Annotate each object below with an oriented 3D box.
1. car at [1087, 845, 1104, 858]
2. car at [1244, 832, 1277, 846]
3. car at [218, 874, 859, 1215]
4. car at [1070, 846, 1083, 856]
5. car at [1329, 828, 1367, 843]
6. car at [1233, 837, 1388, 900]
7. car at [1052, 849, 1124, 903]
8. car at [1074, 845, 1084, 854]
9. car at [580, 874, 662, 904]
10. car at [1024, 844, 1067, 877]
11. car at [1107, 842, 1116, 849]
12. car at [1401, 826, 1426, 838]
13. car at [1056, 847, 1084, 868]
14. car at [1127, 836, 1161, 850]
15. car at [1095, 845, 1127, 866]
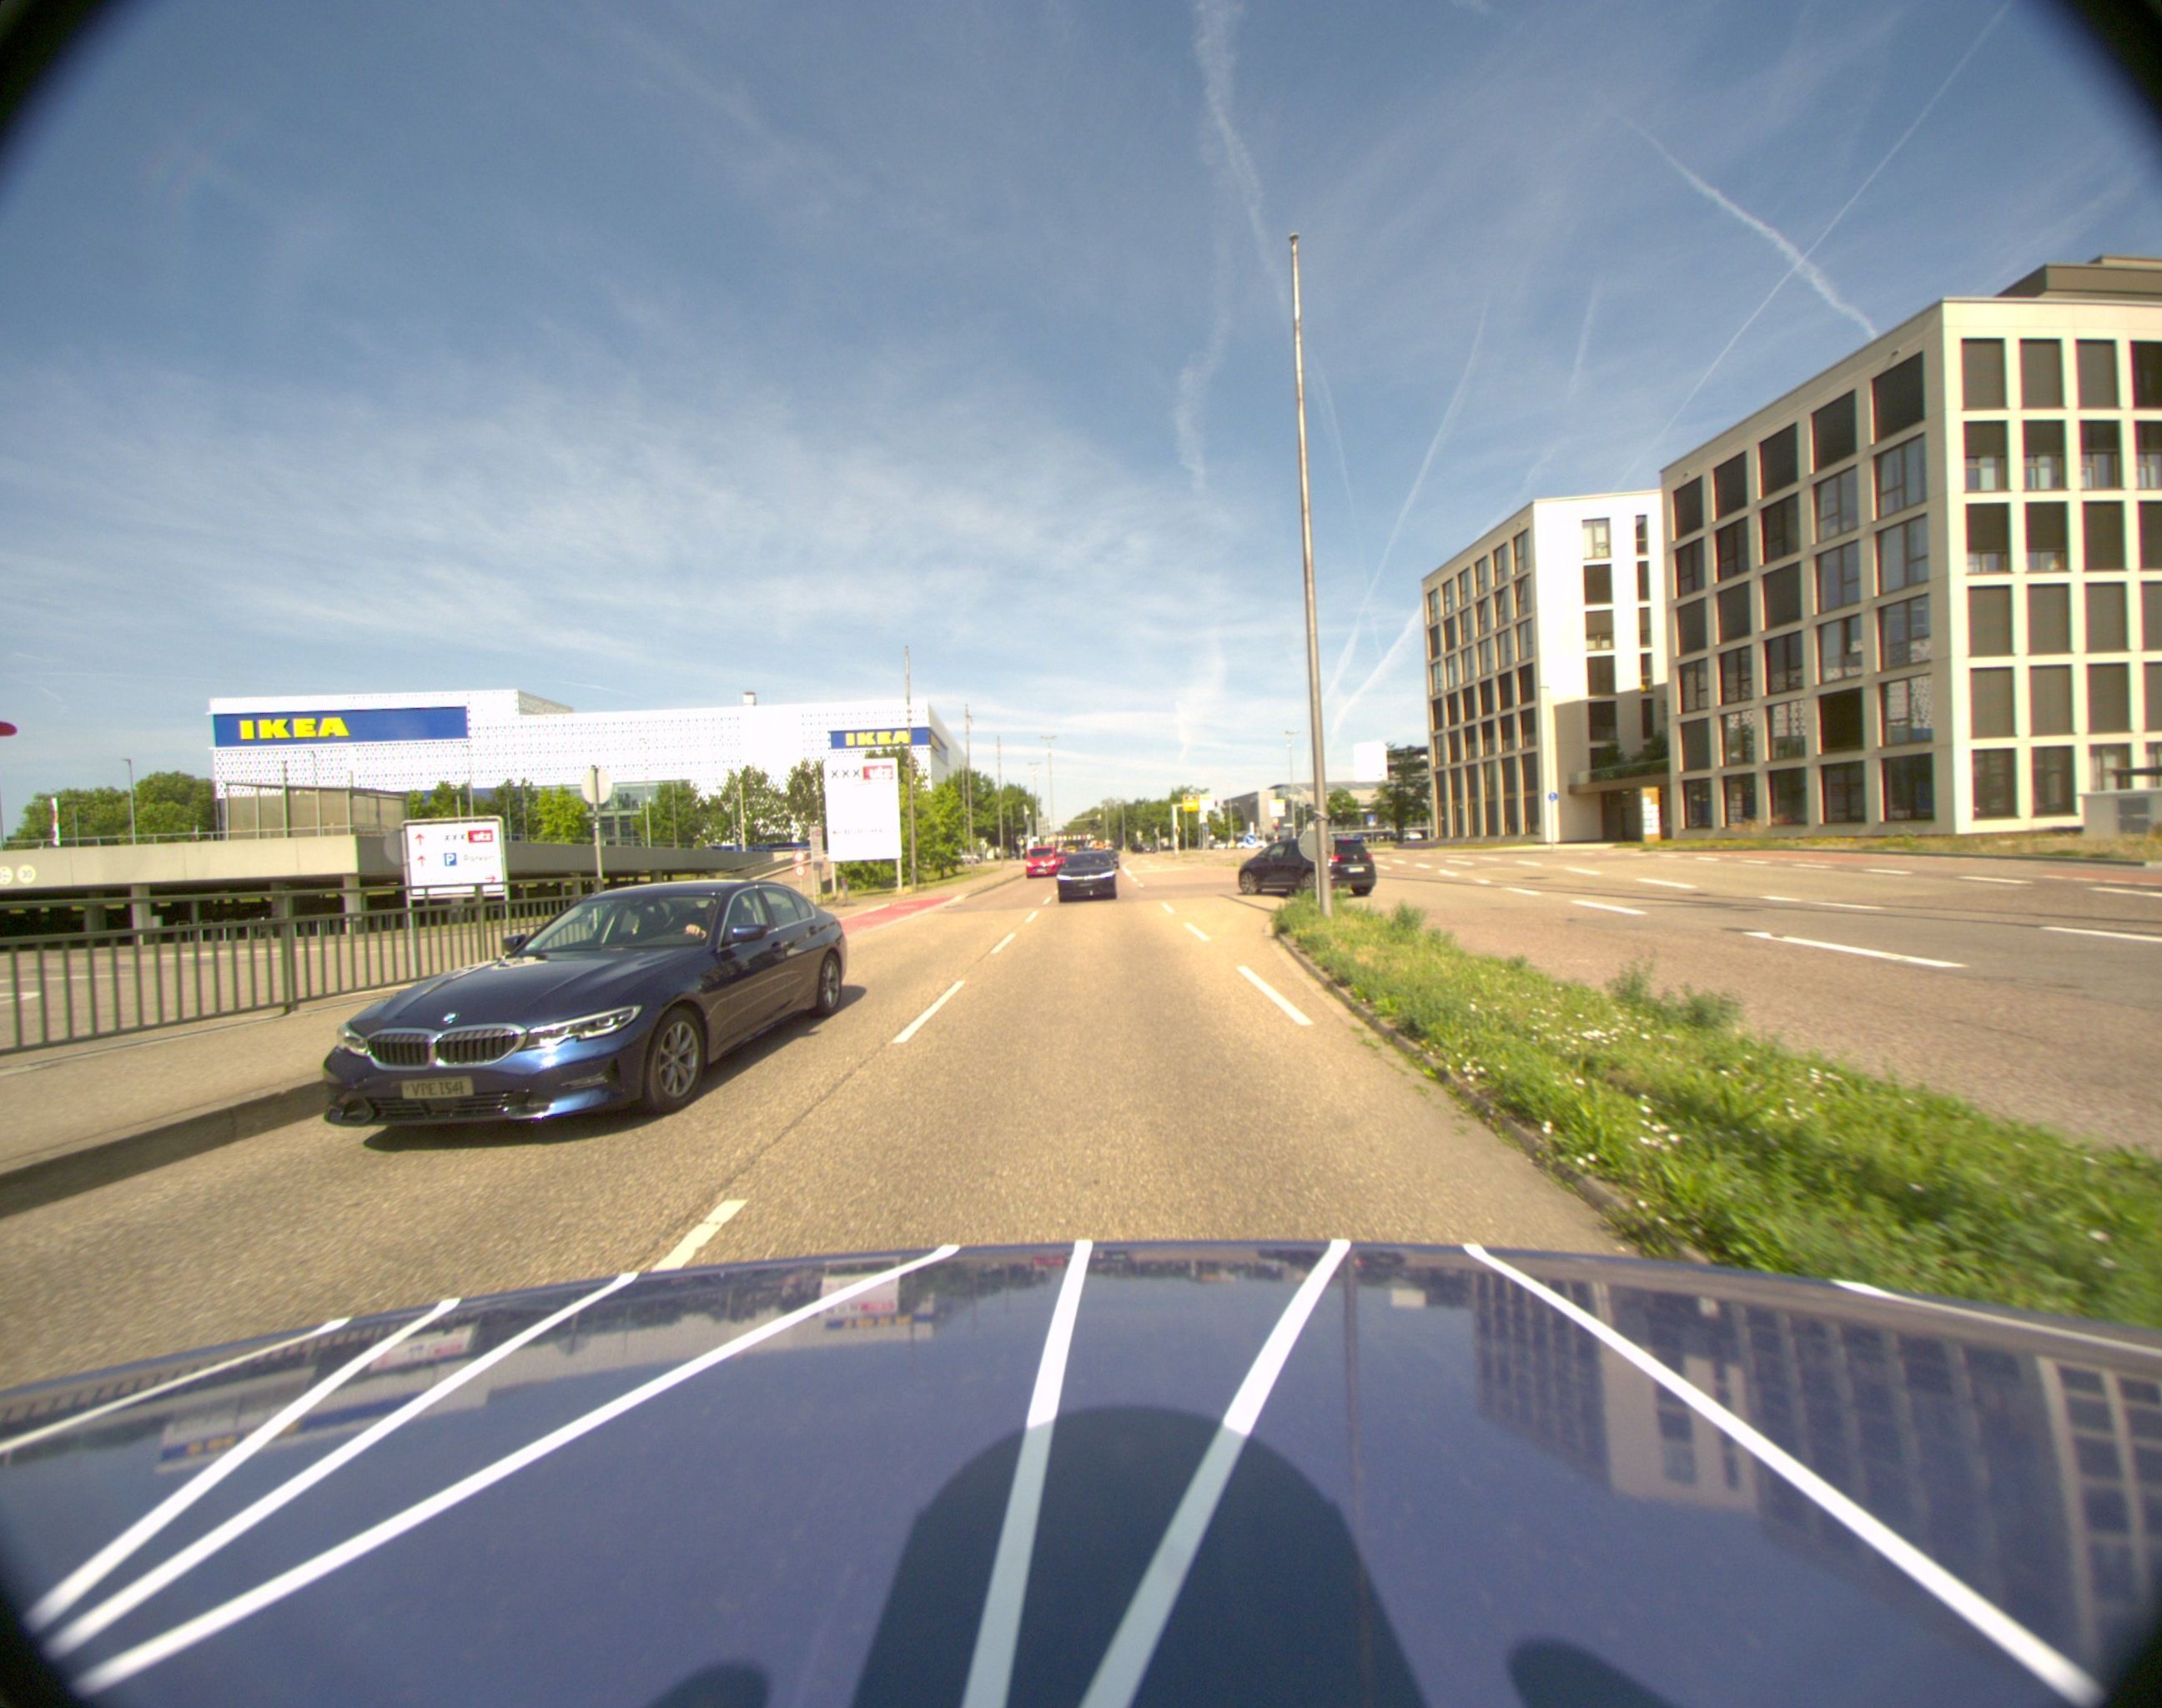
[{"bbox_3d":[1.716,-0.320,88.998,1.826,1.466,3.999,-2,1,-1],"label":"car"},{"bbox_3d":[25.286,-2.107,106.938,4.388,1.837,1.813,-2,1,12],"label":"car"},{"bbox_3d":[-3.404,1.030,6.112,1.792,1.475,4.519,-3,1,1],"label":"car"},{"bbox_3d":[-0.705,-0.459,115.732,1.826,1.466,3.999,-2,1,-1],"label":"car"},{"bbox_3d":[35.925,-2.507,102.220,4.391,1.837,1.812,-2,1,4],"label":"car"},{"bbox_3d":[6.249,0.365,21.194,1.864,1.520,4.136,-2,1,-24],"label":"car"},{"bbox_3d":[0.335,0.668,25.318,1.860,1.520,4.145,-3,1,7],"label":"car"},{"bbox_3d":[-0.391,-0.810,141.013,1.826,1.466,3.999,-2,1,-1],"label":"car"},{"bbox_3d":[-31.453,2.380,52.031,4.318,1.823,1.999,-2,-1,-7],"label":"car"},{"bbox_3d":[-2.196,0.384,48.709,1.987,1.896,4.145,-3,1,7],"label":"car"},{"bbox_3d":[7.351,-2.063,182.170,1.867,1.616,3.999,-2,1,1],"label":"car"},{"bbox_3d":[49.478,-3.287,113.138,1.811,1.563,3.937,-2,1,-5],"label":"car"},{"bbox_3d":[-0.885,0.250,65.358,1.776,1.649,4.145,-3,1,7],"label":"car"},{"bbox_3d":[8.871,-1.523,107.310,4.384,1.837,1.815,-2,1,38],"label":"car"},{"bbox_3d":[2.218,0.096,55.298,1.848,1.410,4.002,-1,1,8],"label":"car"}]
